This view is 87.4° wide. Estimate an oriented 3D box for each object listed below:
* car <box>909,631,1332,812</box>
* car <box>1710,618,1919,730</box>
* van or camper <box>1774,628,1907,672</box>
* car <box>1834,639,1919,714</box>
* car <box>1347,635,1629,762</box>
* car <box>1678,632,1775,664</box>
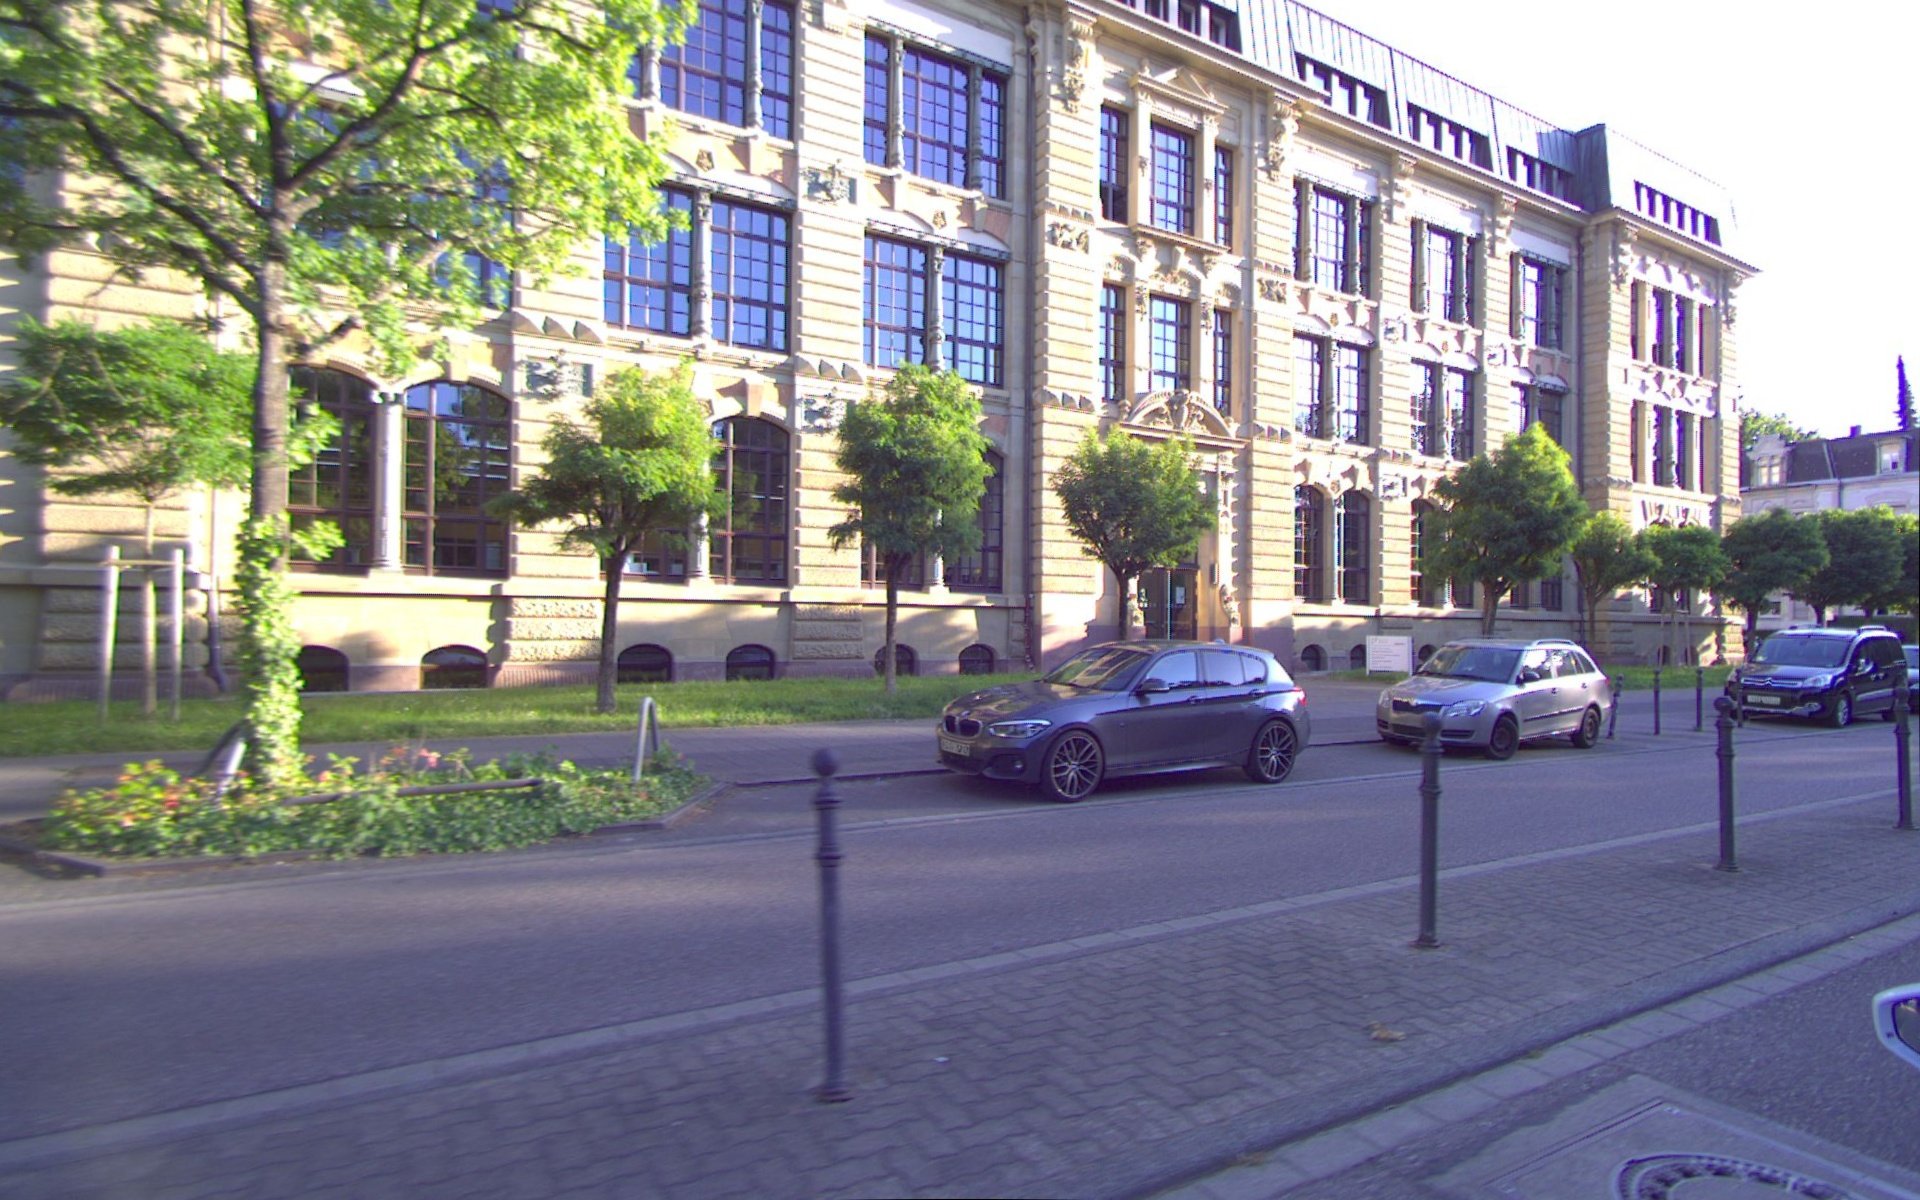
[{"bbox_3d":[1.756,1.113,10.403,4.327,1.516,1.609,2,-1,-31],"label":"car"},{"bbox_3d":[16.624,1.358,19.510,4.282,1.891,1.768,1,1,-31],"label":"car"},{"bbox_3d":[45.485,2.529,52.006,1.975,2.012,4.750,-3,1,-28],"label":"van or camper"},{"bbox_3d":[21.404,1.674,22.407,3.808,1.490,1.689,2,0,-29],"label":"car"},{"bbox_3d":[7.542,1.279,14.206,4.332,1.516,1.708,2,-1,-34],"label":"car"},{"bbox_3d":[42.894,2.642,56.273,1.899,1.695,3.965,1,-1,-32],"label":"car"}]
